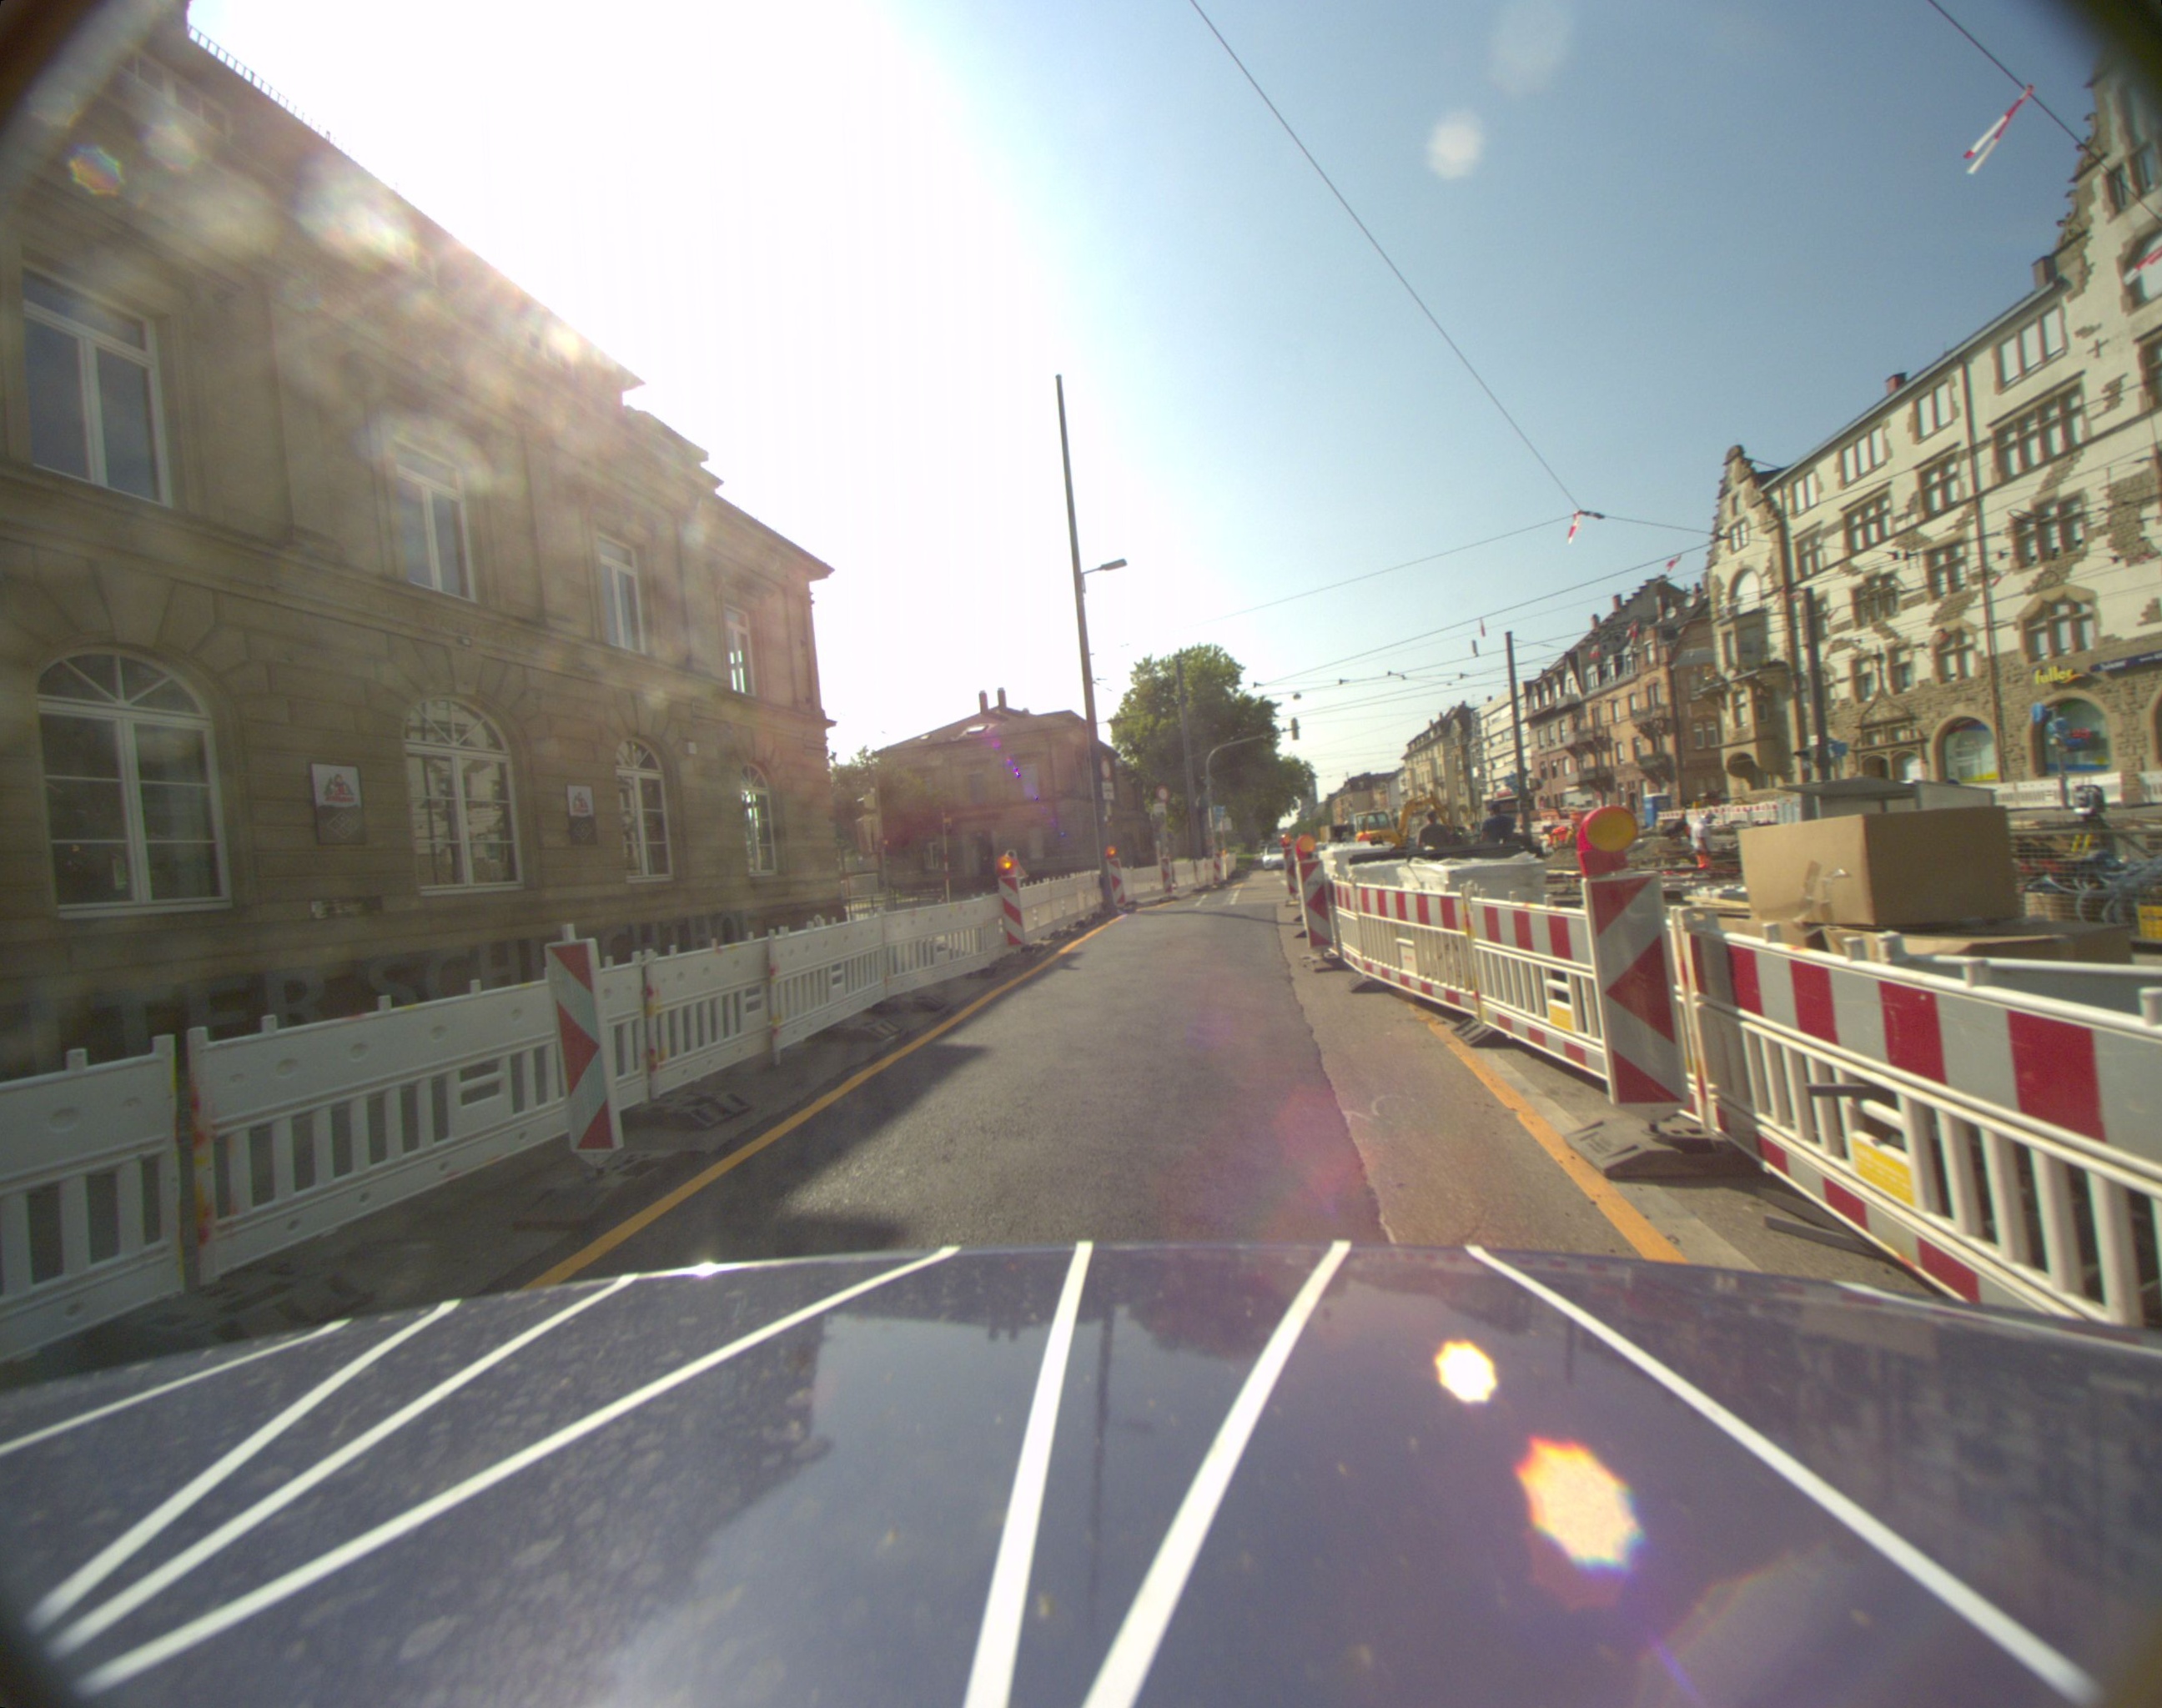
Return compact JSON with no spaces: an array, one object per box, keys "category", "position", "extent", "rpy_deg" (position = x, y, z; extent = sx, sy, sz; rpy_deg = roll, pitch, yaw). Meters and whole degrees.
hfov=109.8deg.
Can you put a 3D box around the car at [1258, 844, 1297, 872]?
[{"category":"car","position":[11.473,0.187,44.217],"extent":[1.996,1.387,4.004],"rpy_deg":[-5,0,16]}]

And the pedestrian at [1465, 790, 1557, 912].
[{"category":"pedestrian","position":[6.915,-0.040,12.267],"extent":[0.920,1.830,0.802],"rpy_deg":[-5,0,4]}]

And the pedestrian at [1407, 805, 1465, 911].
[{"category":"pedestrian","position":[6.192,0.070,13.286],"extent":[0.719,1.764,0.466],"rpy_deg":[-5,0,14]}]

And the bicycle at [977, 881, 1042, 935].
[{"category":"bicycle","position":[-1.619,1.221,17.620],"extent":[0.742,1.026,2.134],"rpy_deg":[-5,0,14]}]

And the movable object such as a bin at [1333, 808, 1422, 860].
[{"category":"movable object such as a bin","position":[14.773,-0.995,38.085],"extent":[3.170,2.395,2.918],"rpy_deg":[-2,2,-3]}]

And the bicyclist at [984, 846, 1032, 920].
[{"category":"bicyclist","position":[-1.672,0.660,17.592],"extent":[0.736,1.616,0.854],"rpy_deg":[-5,0,14]}]

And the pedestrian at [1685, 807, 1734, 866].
[{"category":"pedestrian","position":[13.985,-0.379,16.911],"extent":[0.548,1.239,0.547],"rpy_deg":[-5,0,-4]}]

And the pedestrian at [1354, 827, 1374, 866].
[{"category":"pedestrian","position":[12.983,-0.361,34.840],"extent":[0.700,1.729,0.914],"rpy_deg":[-5,0,22]}]
